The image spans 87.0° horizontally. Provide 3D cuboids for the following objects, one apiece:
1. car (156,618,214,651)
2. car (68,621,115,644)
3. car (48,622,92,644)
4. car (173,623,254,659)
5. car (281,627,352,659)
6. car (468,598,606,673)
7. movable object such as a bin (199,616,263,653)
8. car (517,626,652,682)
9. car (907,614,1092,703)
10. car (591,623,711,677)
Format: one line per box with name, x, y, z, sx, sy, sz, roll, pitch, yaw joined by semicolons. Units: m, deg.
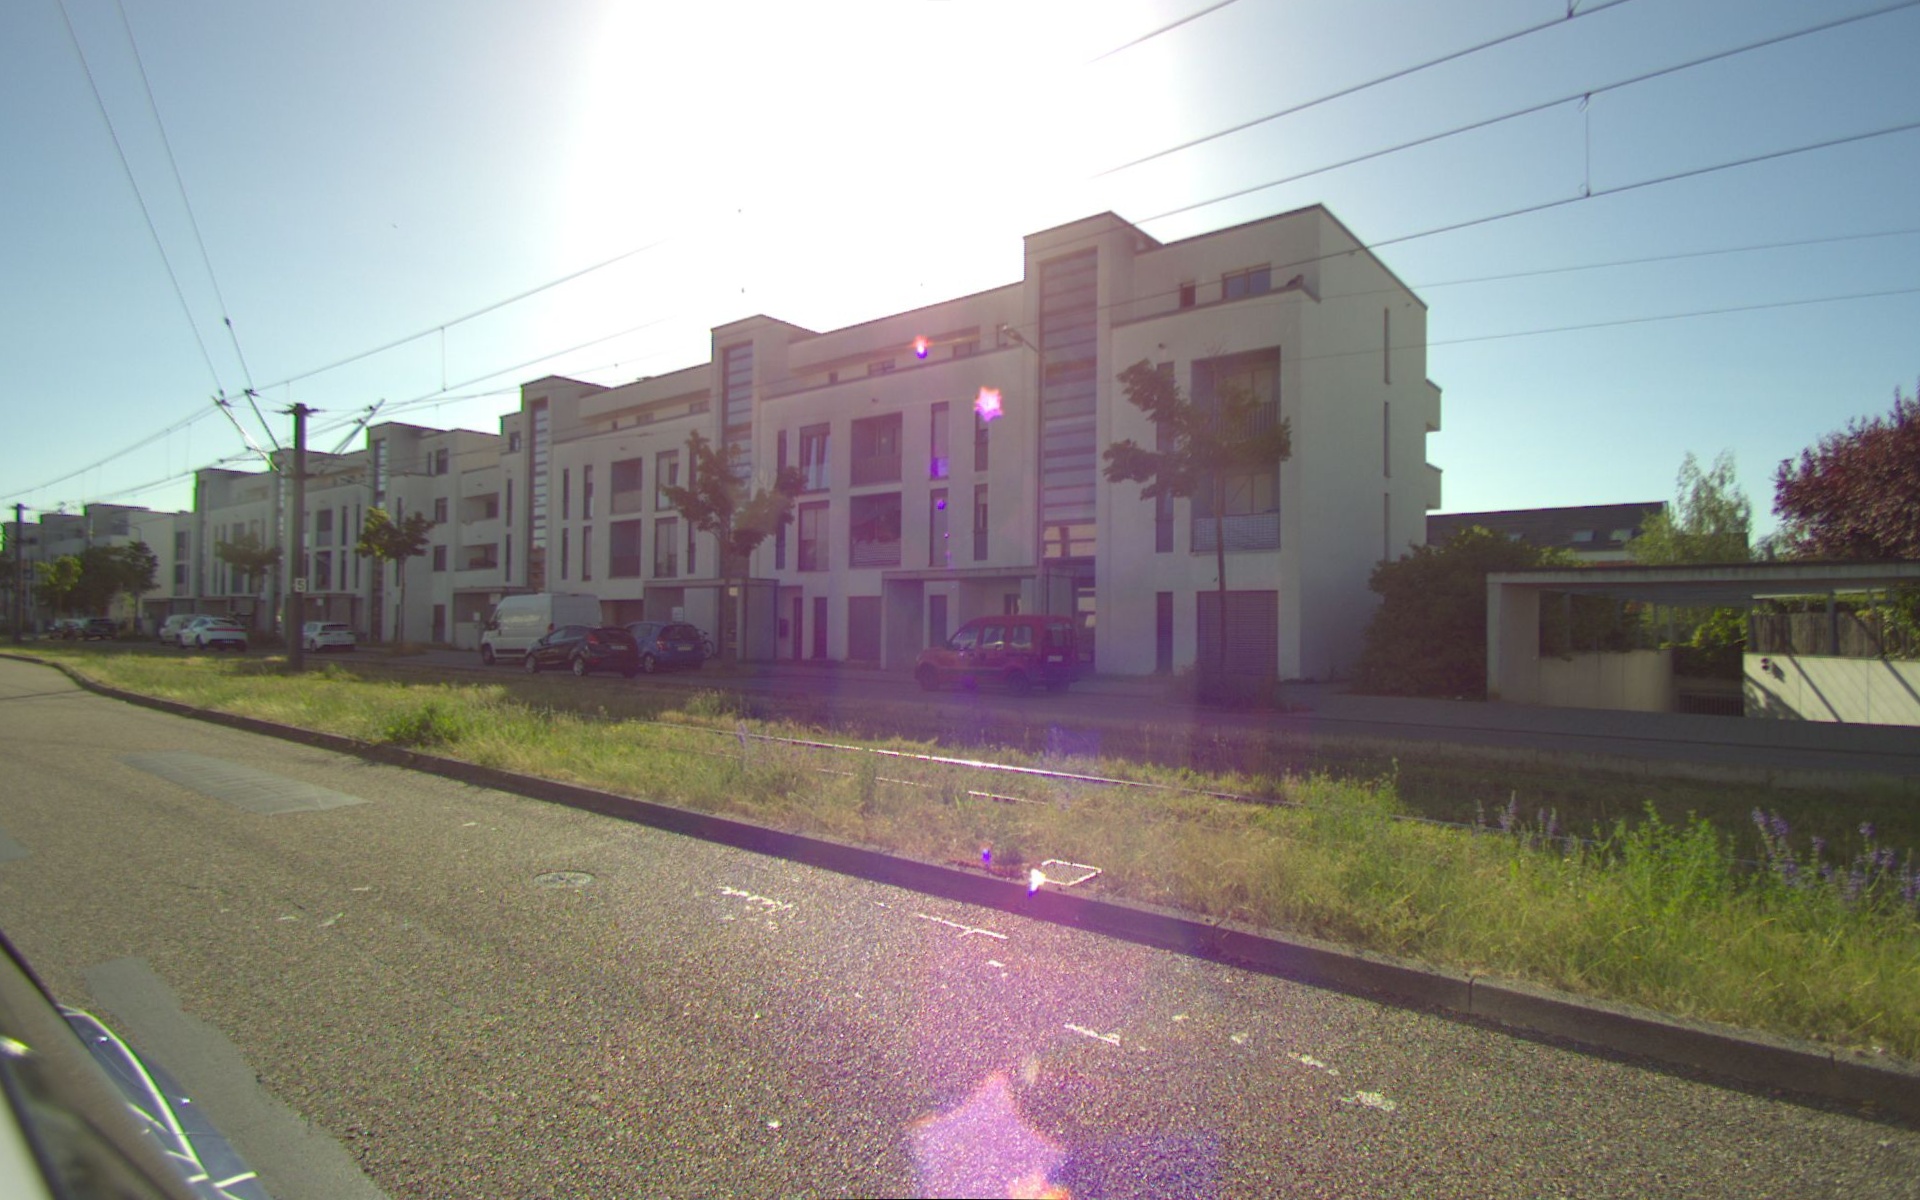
car;-46.937;2.085;61.240;4.149;1.884;1.745;-1;-1;37
car;-62.702;2.360;73.057;4.149;1.611;1.745;-1;-1;37
car;-67.224;2.468;76.426;4.149;1.611;1.745;-1;-1;37
car;-36.012;1.966;48.769;4.641;1.608;1.974;-1;-4;39
car;-30.963;2.034;48.650;4.149;1.443;1.503;-1;-1;37
car;-15.011;1.216;35.783;5.583;2.463;2.119;-1;-1;39
movable object such as a bin;-40.364;1.875;56.000;4.149;1.952;1.745;-1;-1;37
car;-10.313;1.455;27.677;3.999;1.429;1.769;-1;-4;42
car;0.830;1.237;22.685;3.836;1.809;1.861;-1;-1;42
car;-9.606;1.508;31.363;3.840;1.548;1.805;-1;-1;41
